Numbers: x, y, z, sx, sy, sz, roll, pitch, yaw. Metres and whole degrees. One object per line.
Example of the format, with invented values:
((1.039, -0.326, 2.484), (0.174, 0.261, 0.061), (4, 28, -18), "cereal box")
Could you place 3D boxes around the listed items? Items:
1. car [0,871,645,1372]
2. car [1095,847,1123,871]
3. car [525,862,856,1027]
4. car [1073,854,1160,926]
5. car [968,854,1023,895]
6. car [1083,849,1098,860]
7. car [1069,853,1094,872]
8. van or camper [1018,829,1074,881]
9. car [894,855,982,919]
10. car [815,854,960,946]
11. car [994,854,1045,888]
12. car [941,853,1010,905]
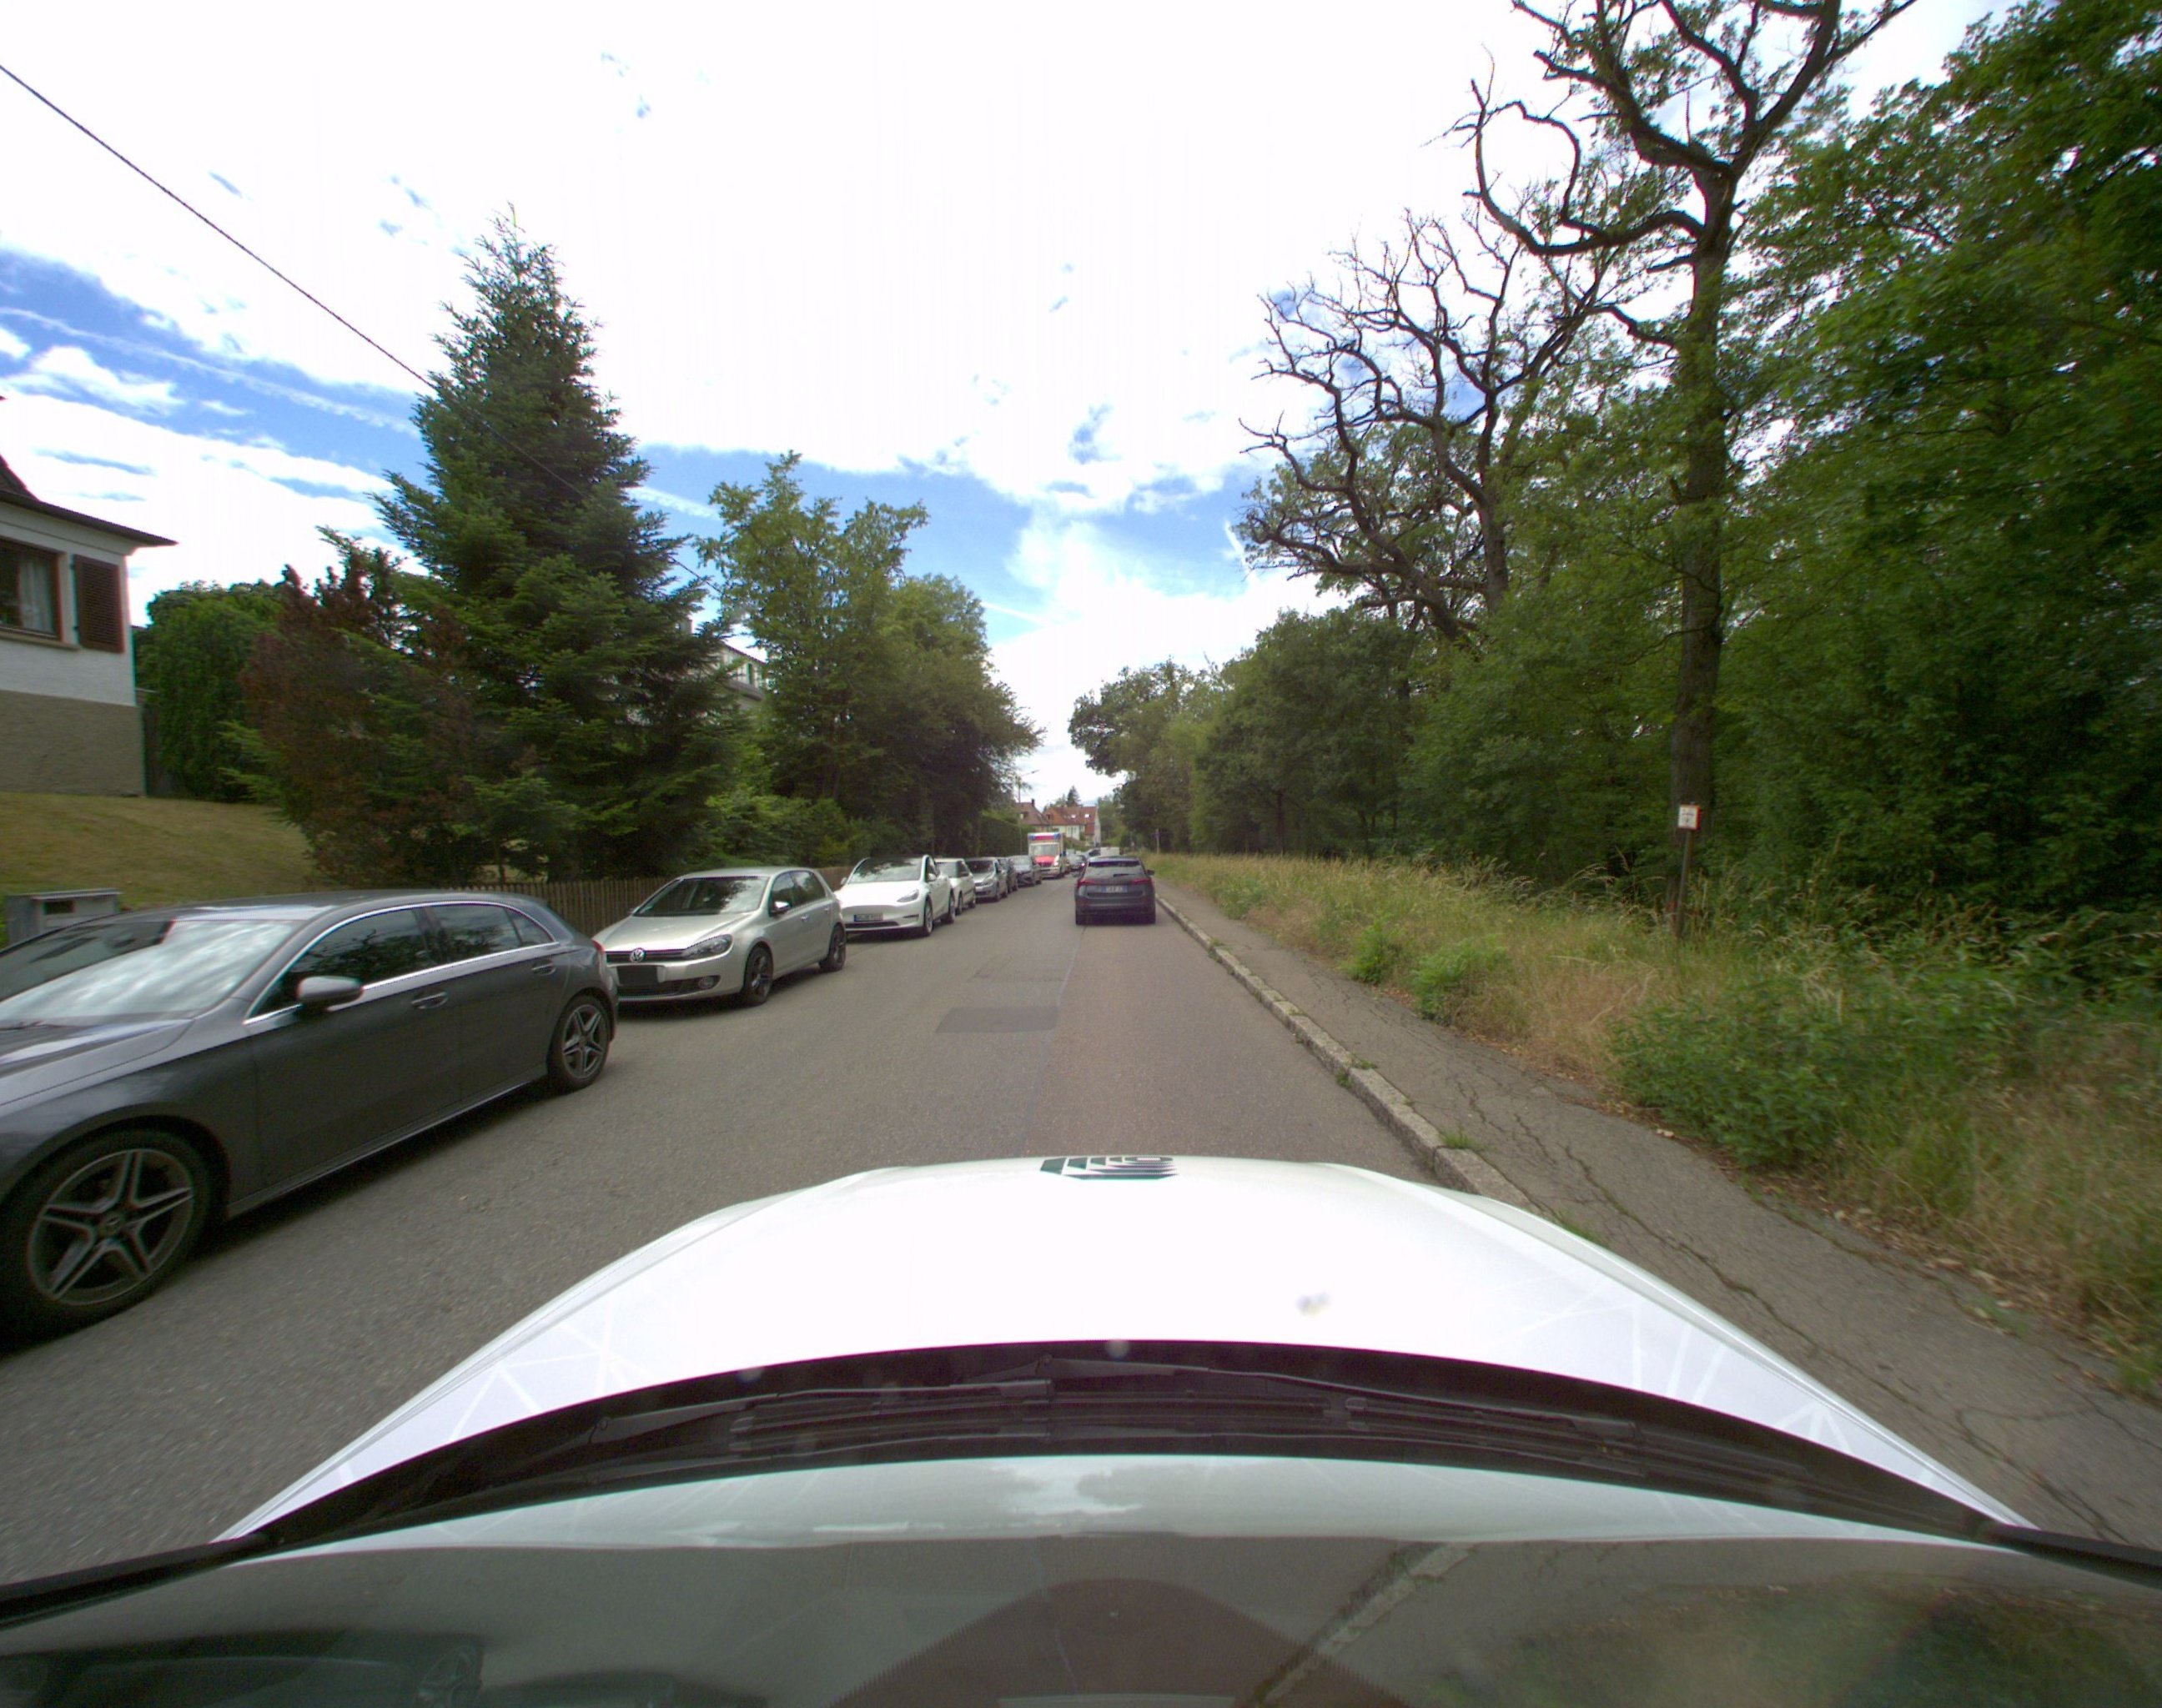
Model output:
((-4.188, 0.881, 4.070), (1.729, 1.439, 4.260), (-2, 0, -1), "car")
((2.263, 0.408, 67.297), (2.066, 1.922, 4.919), (0, 0, -2), "car")
((-4.275, 0.877, 9.778), (1.828, 1.439, 4.118), (-3, 0, 2), "car")
((0.703, 0.732, 18.788), (1.723, 1.439, 4.321), (0, 0, -1), "car")
((-3.510, 0.823, 34.148), (1.714, 1.505, 4.061), (-3, 0, 1), "car")
((1.286, -0.001, 108.341), (1.856, 1.414, 4.593), (0, 0, 1), "car")
((0.051, 0.691, 66.824), (1.756, 1.446, 4.477), (-2, 0, 3), "car")
((-2.070, 0.037, 50.839), (2.444, 2.895, 7.179), (-2, 0, 5), "van or camper")
((-3.868, 0.848, 22.664), (1.715, 1.504, 3.816), (-3, 0, -1), "car")
((-3.848, 0.832, 17.072), (1.911, 1.562, 4.602), (-3, 0, -1), "car")
((-2.957, 0.785, 40.145), (1.790, 1.505, 4.868), (-3, 0, 3), "car")
((-3.480, 0.785, 27.488), (1.715, 1.505, 4.007), (-3, 0, 0), "car")
